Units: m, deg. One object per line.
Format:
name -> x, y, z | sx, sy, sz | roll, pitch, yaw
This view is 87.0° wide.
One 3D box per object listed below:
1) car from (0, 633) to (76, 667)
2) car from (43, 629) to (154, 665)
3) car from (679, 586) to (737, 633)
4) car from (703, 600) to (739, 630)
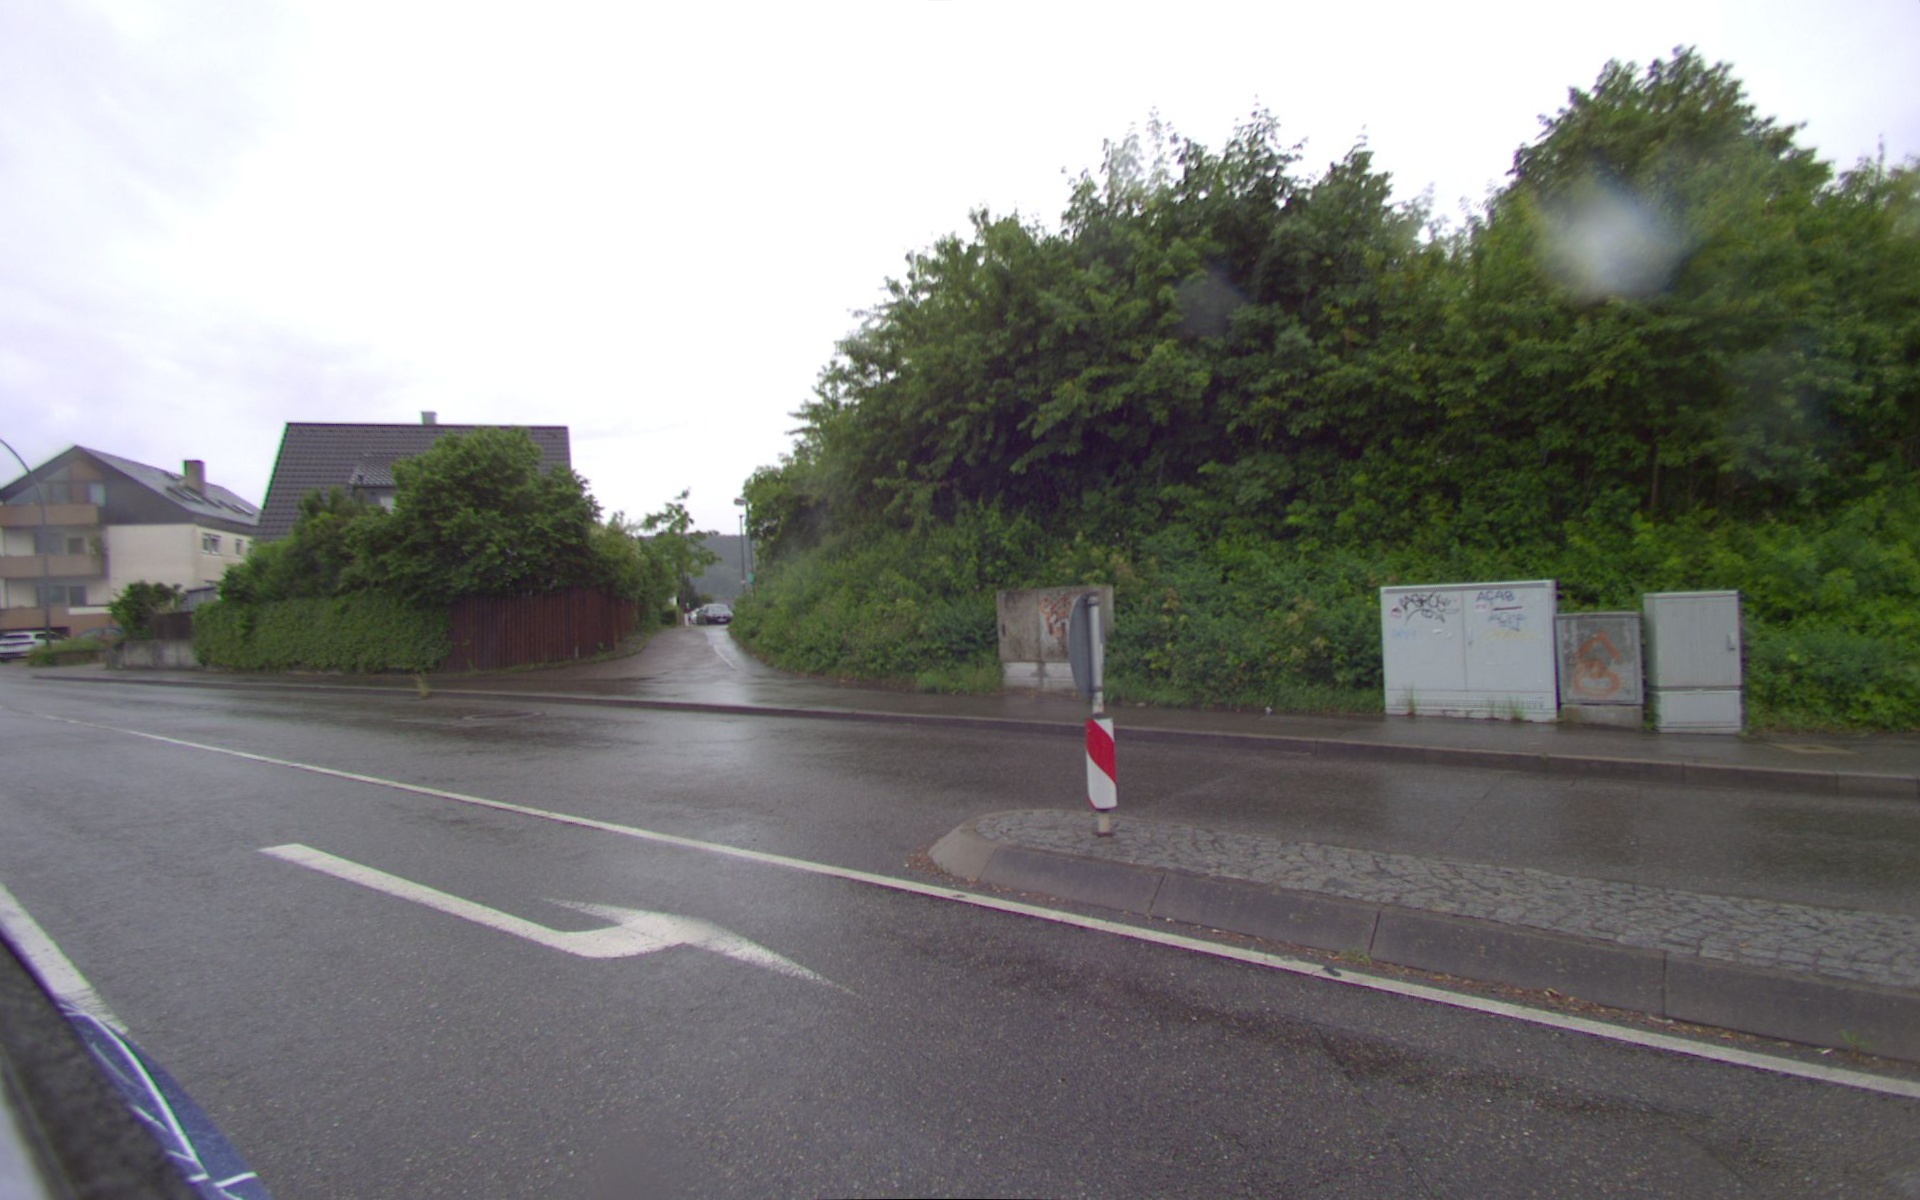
car -> -46.802, 2.507, 51.041 | 1.837, 1.530, 4.012 | -2, 0, -18
car -> -41.220, 2.221, 48.514 | 3.609, 1.530, 1.759 | -2, 0, -15
car -> -9.166, 0.343, 37.050 | 1.683, 1.600, 3.668 | -1, 0, -8
car -> -15.580, 0.955, 66.171 | 1.968, 1.873, 4.008 | -2, 0, -9
